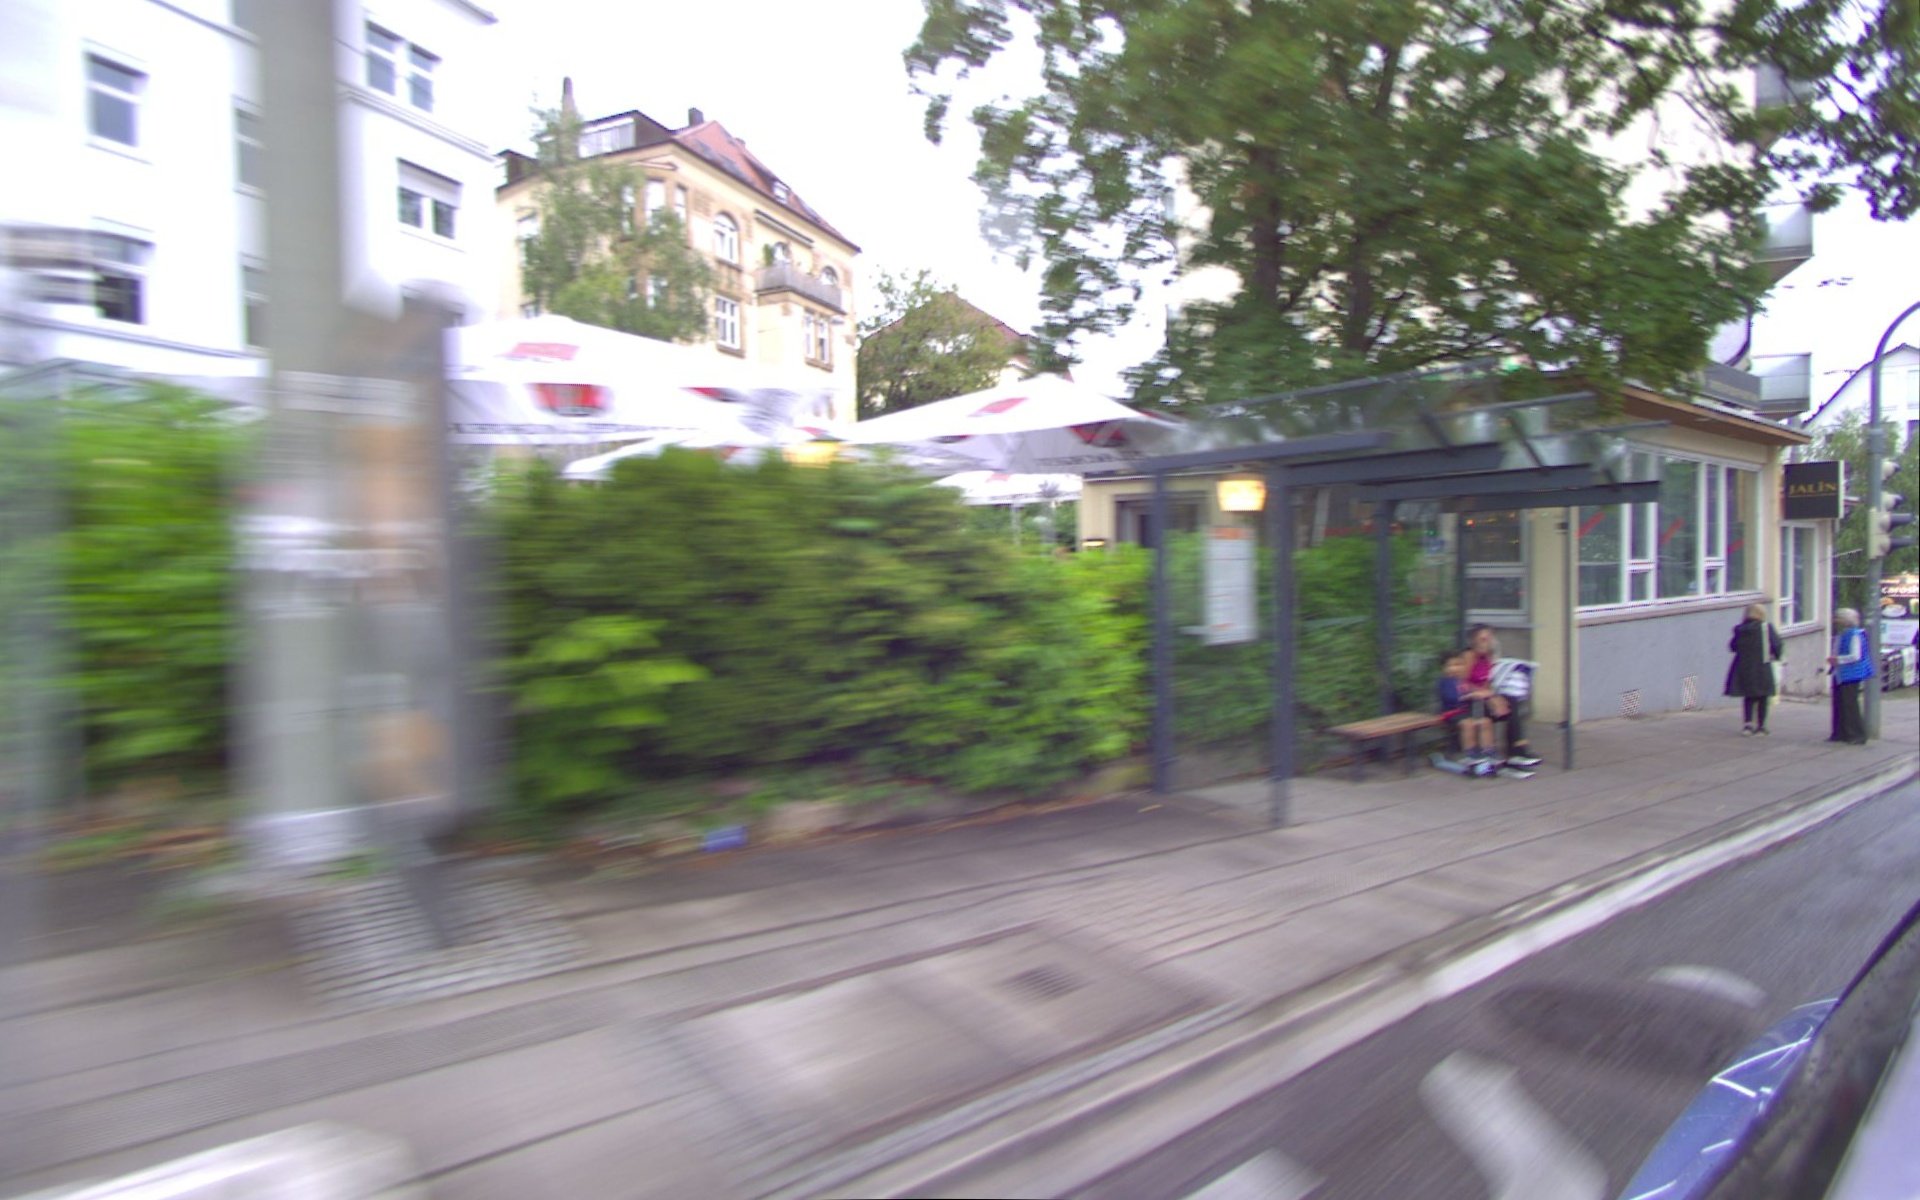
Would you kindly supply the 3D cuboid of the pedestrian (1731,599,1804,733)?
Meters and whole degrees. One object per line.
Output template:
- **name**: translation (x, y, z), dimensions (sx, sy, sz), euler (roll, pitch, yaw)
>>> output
- **pedestrian**: translation (9.898, 0.790, 12.407), dimensions (0.549, 1.573, 0.546), euler (2, 1, -41)

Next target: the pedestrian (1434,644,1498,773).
- **pedestrian**: translation (4.177, 0.879, 8.361), dimensions (0.312, 1.007, 0.325), euler (3, 1, -43)

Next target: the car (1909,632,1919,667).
- **car**: translation (47.684, 2.434, 47.889), dimensions (1.788, 1.484, 3.991), euler (-6, 5, -43)

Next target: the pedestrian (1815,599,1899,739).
- **pedestrian**: translation (10.579, 0.794, 11.934), dimensions (0.638, 1.573, 0.589), euler (2, 1, -40)

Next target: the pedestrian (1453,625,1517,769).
- **pedestrian**: translation (4.446, 0.810, 8.574), dimensions (0.312, 1.164, 0.325), euler (3, 1, -43)

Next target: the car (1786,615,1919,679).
- **car**: translation (28.761, 1.497, 31.503), dimensions (1.747, 1.694, 4.343), euler (4, 1, -37)

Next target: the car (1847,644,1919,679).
- **car**: translation (42.395, 2.701, 44.415), dimensions (1.938, 1.455, 4.942), euler (1, -1, -38)

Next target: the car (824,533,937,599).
- **car**: translation (-2.151, -0.927, 28.414), dimensions (1.674, 1.711, 3.776), euler (1, 1, 22)
